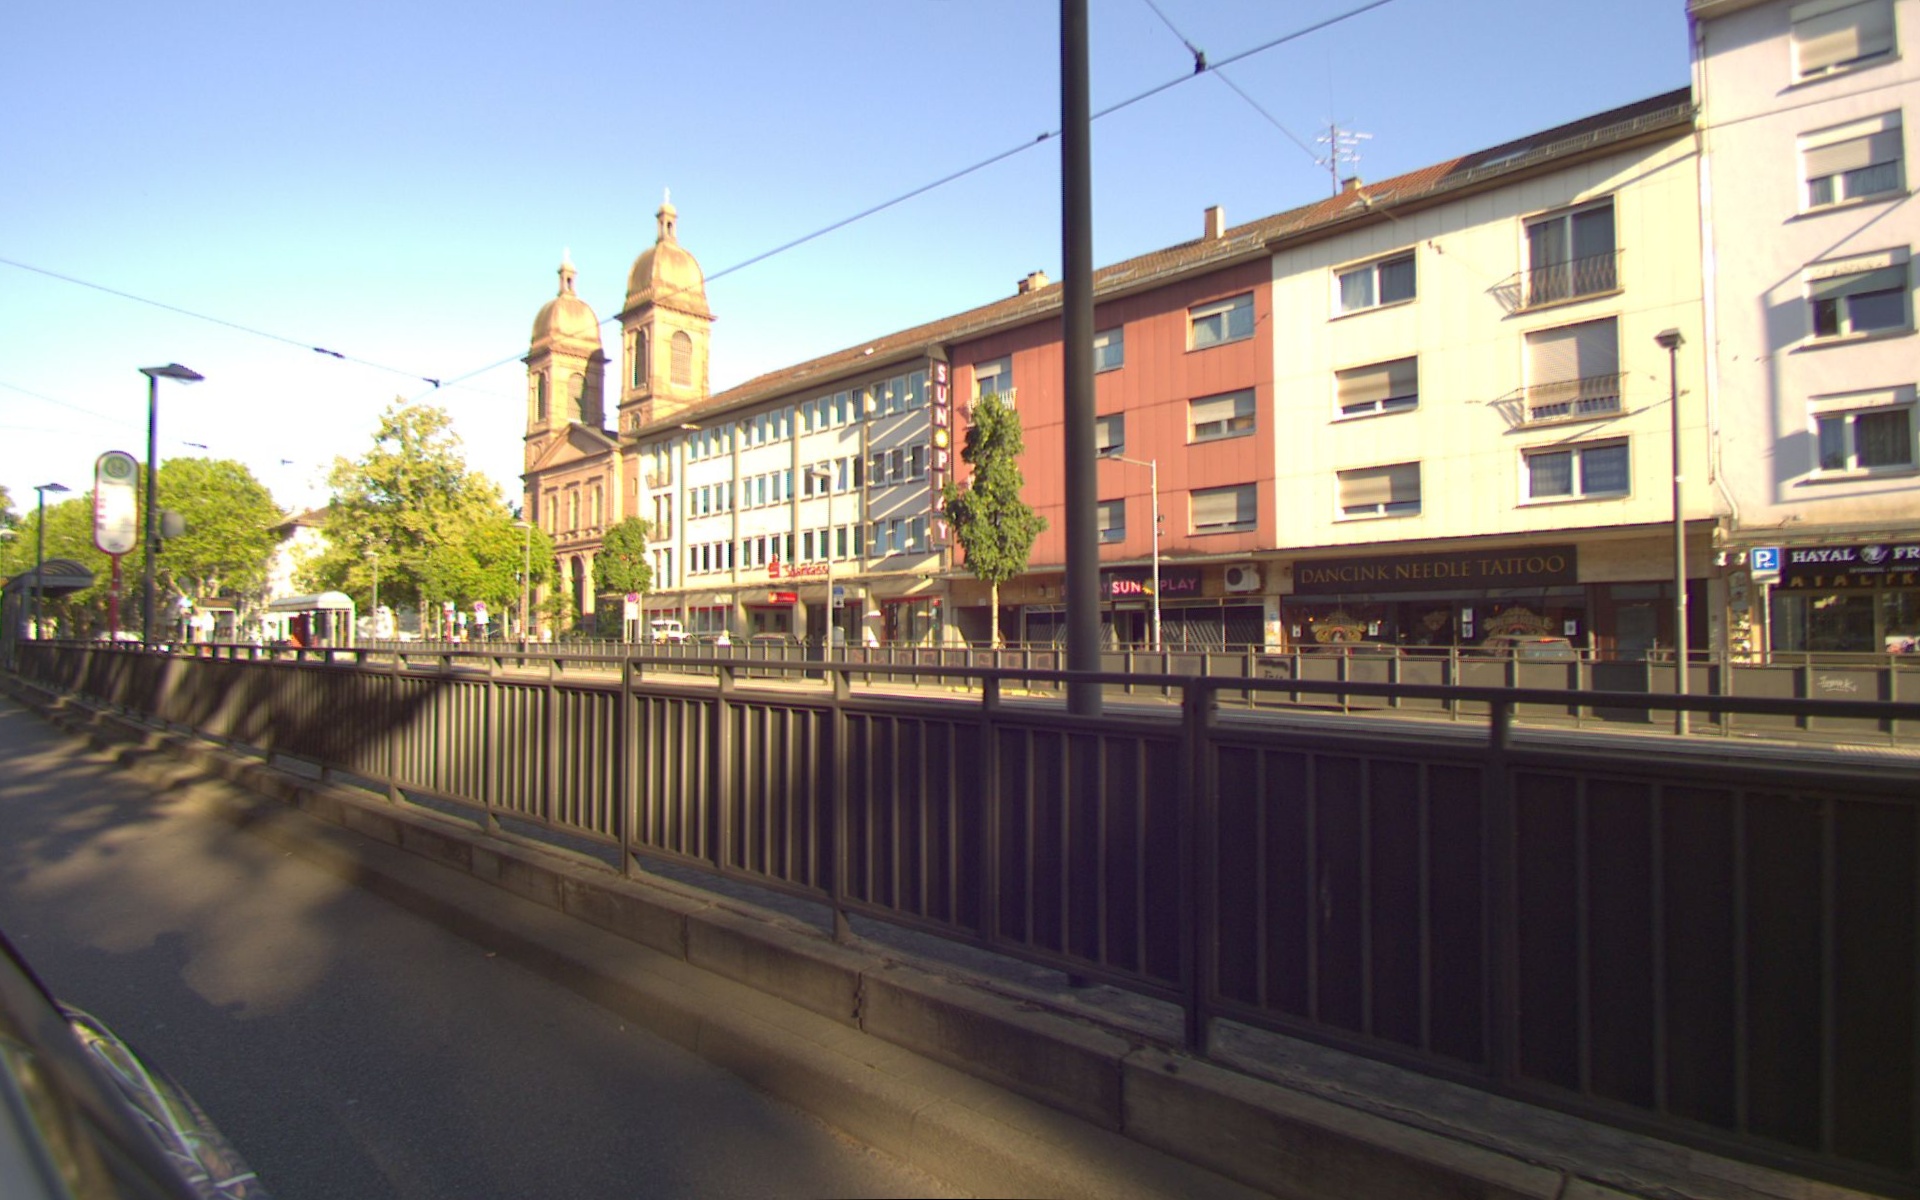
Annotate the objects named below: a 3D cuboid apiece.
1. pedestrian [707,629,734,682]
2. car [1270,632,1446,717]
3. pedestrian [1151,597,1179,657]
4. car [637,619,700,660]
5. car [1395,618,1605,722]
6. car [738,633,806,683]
[{"bbox_3d":[-8.397,1.934,35.482,0.758,1.801,0.725,-1,-1,0],"label":"pedestrian"},{"bbox_3d":[8.504,1.534,22.001,1.834,1.502,3.777,-1,0,-9],"label":"car"},{"bbox_3d":[6.384,0.846,31.543,0.589,1.863,0.734,-2,-3,37],"label":"pedestrian"},{"bbox_3d":[-11.812,1.569,41.212,1.717,1.497,4.004,-1,0,-5],"label":"car"},{"bbox_3d":[10.900,1.323,20.752,1.834,1.813,3.777,-1,0,-9],"label":"car"},{"bbox_3d":[-6.613,2.005,35.996,1.843,1.541,4.002,-1,0,-3],"label":"car"}]
